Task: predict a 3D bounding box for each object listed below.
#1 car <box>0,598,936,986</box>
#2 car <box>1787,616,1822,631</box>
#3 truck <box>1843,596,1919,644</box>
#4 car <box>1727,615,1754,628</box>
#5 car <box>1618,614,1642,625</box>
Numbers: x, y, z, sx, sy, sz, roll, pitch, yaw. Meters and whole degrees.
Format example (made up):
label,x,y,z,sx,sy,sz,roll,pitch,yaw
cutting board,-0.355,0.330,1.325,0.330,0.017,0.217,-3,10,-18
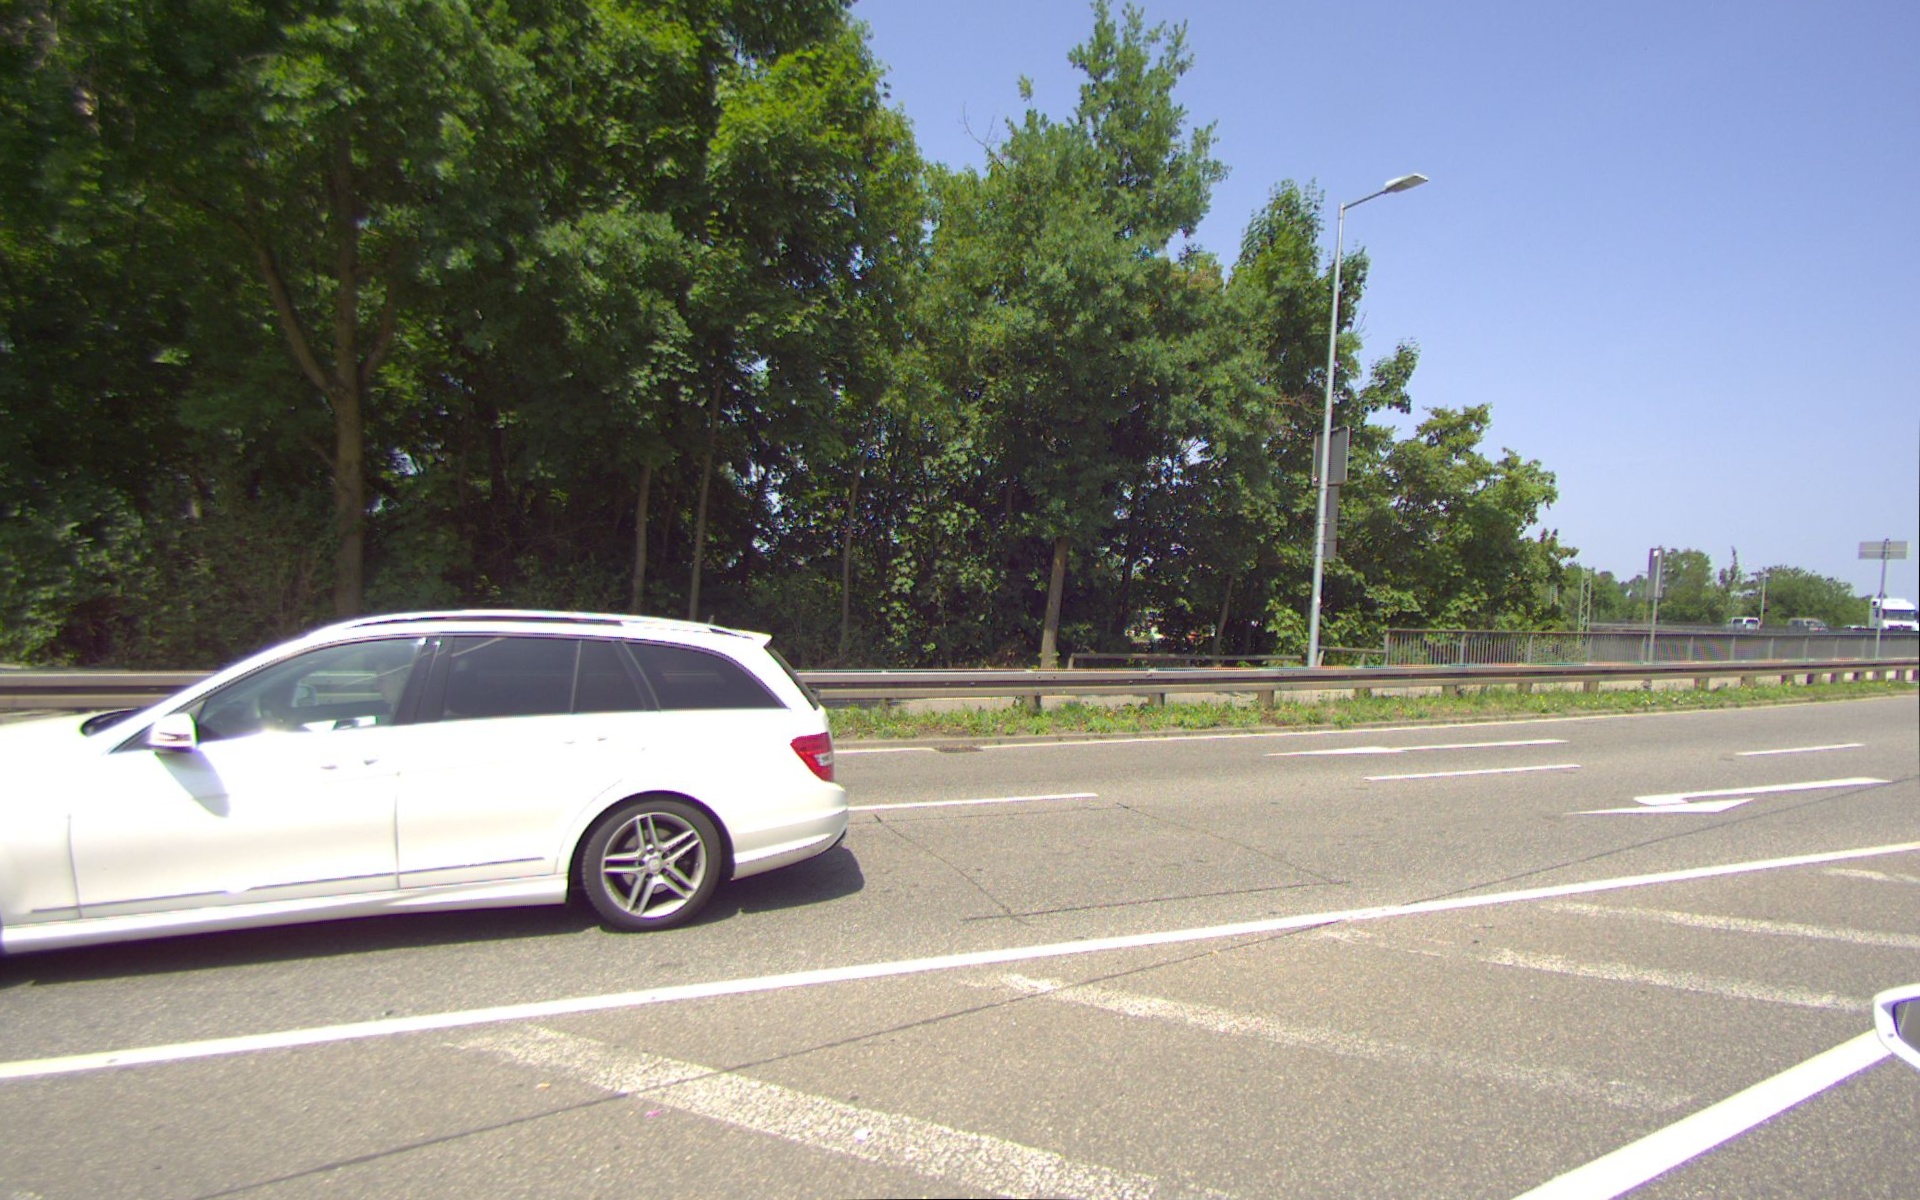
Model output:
label,x,y,z,sx,sy,sz,roll,pitch,yaw
car,-2.687,0.751,4.999,4.815,1.425,1.825,1,-1,-21
car,86.917,2.440,103.399,1.533,1.404,3.615,2,1,20
truck,82.742,1.730,90.391,2.661,4.045,6.185,2,1,20
car,95.512,2.579,122.956,1.533,1.404,3.615,2,1,20
car,98.174,2.873,147.304,1.532,1.404,3.617,2,1,10
